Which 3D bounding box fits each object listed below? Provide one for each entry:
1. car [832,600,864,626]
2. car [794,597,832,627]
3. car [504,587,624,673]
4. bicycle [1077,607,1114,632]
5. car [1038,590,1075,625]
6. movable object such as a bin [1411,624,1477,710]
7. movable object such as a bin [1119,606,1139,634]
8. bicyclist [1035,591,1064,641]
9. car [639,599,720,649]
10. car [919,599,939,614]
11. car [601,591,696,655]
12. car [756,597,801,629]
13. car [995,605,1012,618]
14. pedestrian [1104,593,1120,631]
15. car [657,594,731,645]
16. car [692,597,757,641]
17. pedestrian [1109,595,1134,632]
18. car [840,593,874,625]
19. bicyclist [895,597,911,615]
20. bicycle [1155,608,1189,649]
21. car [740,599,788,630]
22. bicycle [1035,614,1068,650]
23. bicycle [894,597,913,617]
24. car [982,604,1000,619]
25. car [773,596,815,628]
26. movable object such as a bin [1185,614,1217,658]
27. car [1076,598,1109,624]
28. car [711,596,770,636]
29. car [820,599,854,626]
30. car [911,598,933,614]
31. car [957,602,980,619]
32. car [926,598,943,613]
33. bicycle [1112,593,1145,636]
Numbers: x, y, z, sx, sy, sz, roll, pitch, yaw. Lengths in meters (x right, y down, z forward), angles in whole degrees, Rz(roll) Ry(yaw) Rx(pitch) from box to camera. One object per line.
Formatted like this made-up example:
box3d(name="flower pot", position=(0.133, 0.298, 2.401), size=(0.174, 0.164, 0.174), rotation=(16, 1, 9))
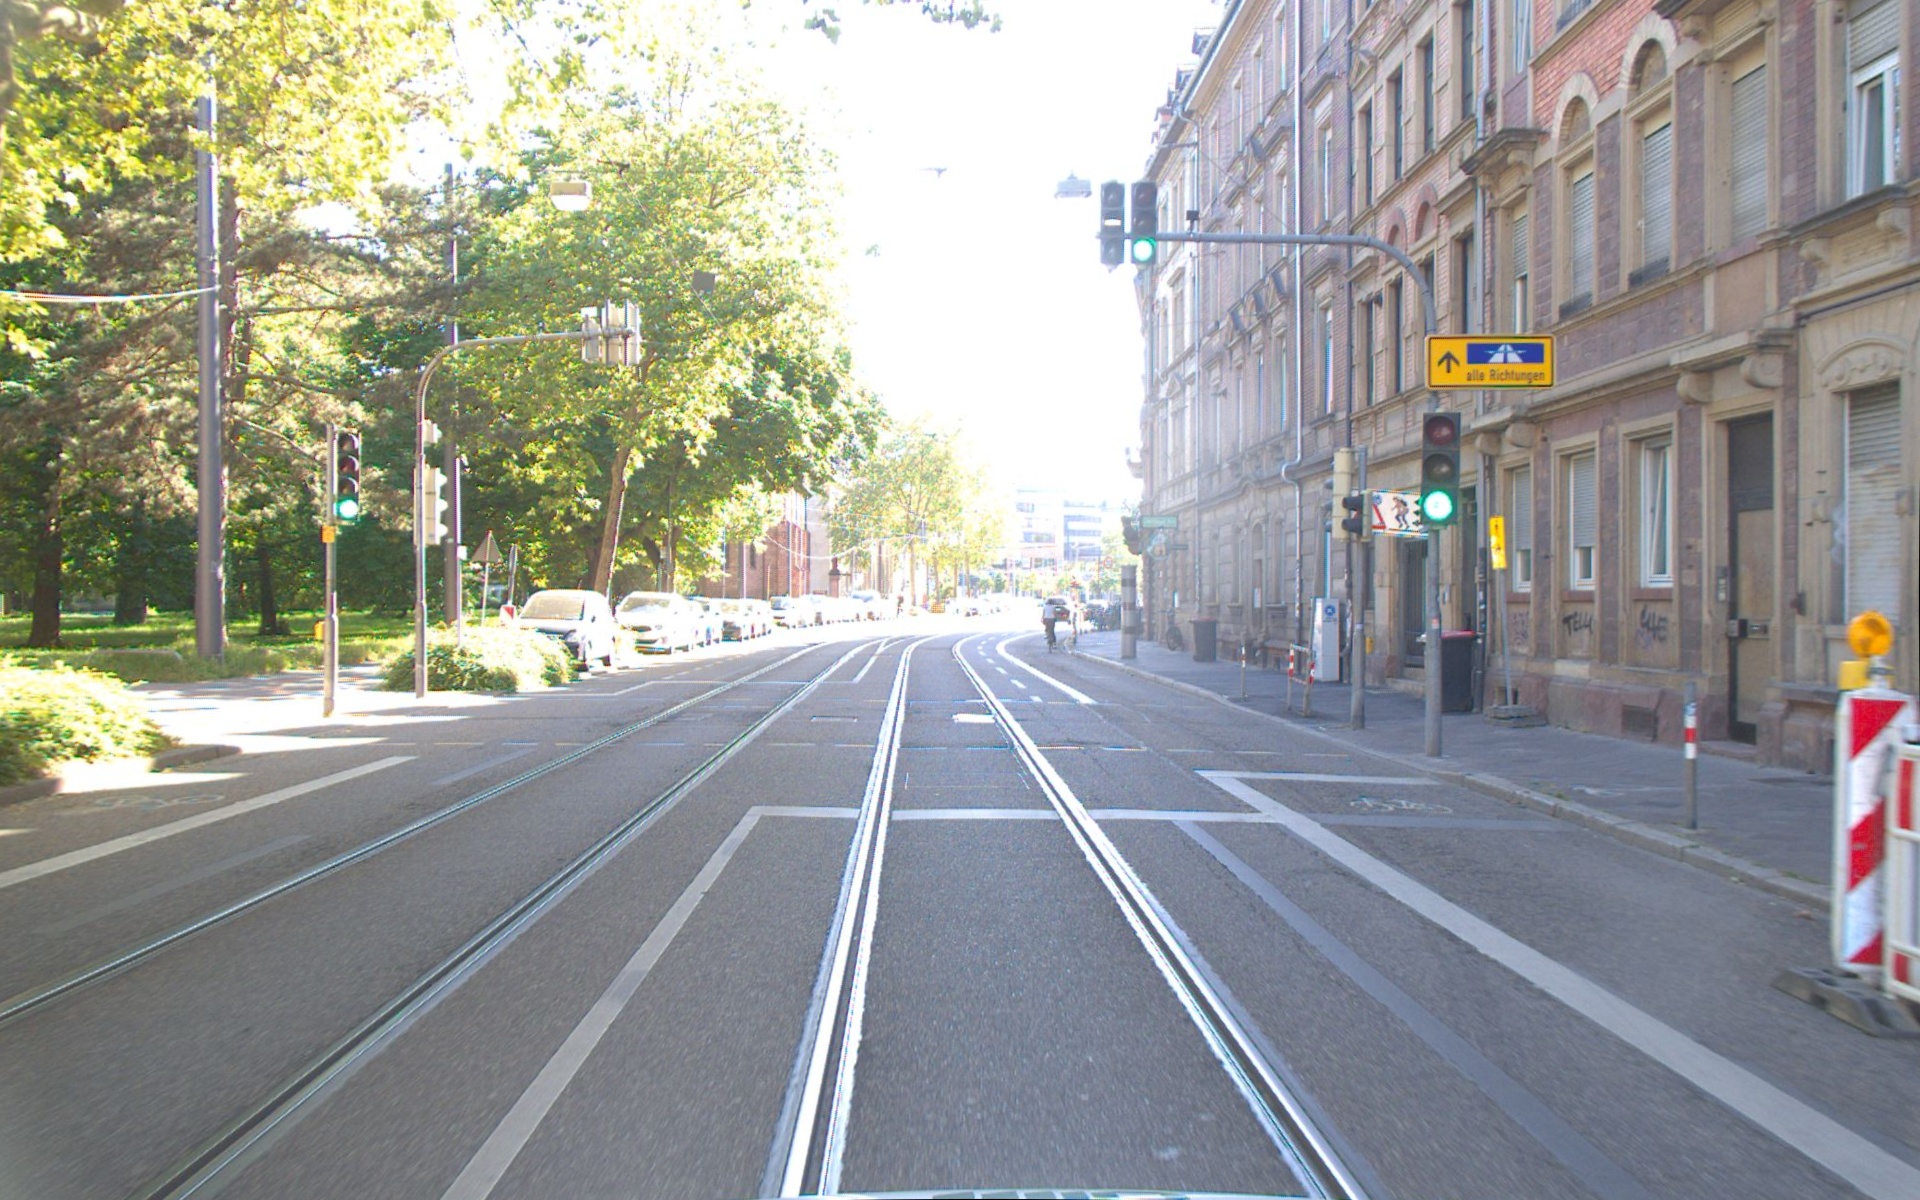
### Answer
box3d(name="car", position=(-7.417, 0.852, 109.824), size=(1.712, 1.614, 4.044), rotation=(1, -1, 1))
box3d(name="car", position=(-8.389, 0.705, 94.529), size=(1.712, 1.614, 4.044), rotation=(1, -1, 1))
box3d(name="car", position=(-8.302, 0.614, 34.927), size=(1.513, 1.687, 3.763), rotation=(1, -1, 1))
box3d(name="bicycle", position=(6.361, 0.905, 77.368), size=(0.628, 1.137, 2.289), rotation=(1, -1, 35))
box3d(name="car", position=(5.848, 0.456, 100.524), size=(1.953, 2.049, 3.999), rotation=(1, -1, -1))
box3d(name="movable object such as a bin", position=(6.582, 0.897, 22.511), size=(0.608, 1.129, 0.780), rotation=(1, -1, -4))
box3d(name="movable object such as a bin", position=(6.853, 0.793, 66.964), size=(0.681, 1.112, 0.741), rotation=(1, -1, -4))
box3d(name="bicyclist", position=(2.884, 0.522, 53.469), size=(0.821, 1.585, 0.965), rotation=(1, -1, -2))
box3d(name="car", position=(-8.629, 0.726, 51.198), size=(1.712, 1.447, 4.044), rotation=(1, 0, 1))
box3d(name="car", position=(-3.032, 0.670, 162.670), size=(1.712, 1.447, 4.045), rotation=(1, 0, 3))
box3d(name="car", position=(-8.502, 0.619, 45.465), size=(1.712, 1.636, 4.044), rotation=(1, -1, 1))
box3d(name="car", position=(-9.208, 0.647, 84.000), size=(1.712, 1.521, 4.044), rotation=(1, 0, 1))
box3d(name="car", position=(4.813, 1.294, 183.415), size=(1.712, 1.447, 4.045), rotation=(1, 0, 3))
box3d(name="pedestrian", position=(7.856, 0.631, 85.540), size=(0.767, 1.922, 0.971), rotation=(1, -1, 6))
box3d(name="car", position=(-8.893, 0.649, 55.545), size=(1.712, 1.614, 4.044), rotation=(1, -1, 1))
box3d(name="car", position=(-8.668, 0.706, 61.064), size=(1.712, 1.536, 4.044), rotation=(1, 0, 1))
box3d(name="pedestrian", position=(8.072, 0.679, 82.699), size=(1.033, 1.791, 1.332), rotation=(1, -1, -1))
box3d(name="car", position=(-7.144, 0.634, 114.870), size=(2.016, 2.088, 4.044), rotation=(1, -1, 1))
box3d(name="bicyclist", position=(-4.651, 0.479, 135.041), size=(1.054, 1.452, 1.147), rotation=(1, -1, 7))
box3d(name="bicycle", position=(6.007, 0.798, 47.013), size=(0.626, 1.137, 2.297), rotation=(1, -1, -1))
box3d(name="car", position=(-9.281, 0.703, 78.564), size=(1.712, 1.388, 4.044), rotation=(1, 0, 1))
box3d(name="bicycle", position=(2.951, 1.022, 53.510), size=(0.838, 1.107, 2.486), rotation=(1, -1, -1))
box3d(name="bicycle", position=(-4.610, 0.611, 135.069), size=(1.208, 1.600, 2.899), rotation=(1, -1, 6))
box3d(name="car", position=(3.254, 1.214, 173.621), size=(1.712, 1.447, 4.045), rotation=(1, 0, 3))
box3d(name="car", position=(-8.929, 0.648, 89.074), size=(1.712, 1.614, 4.044), rotation=(1, -1, 1))
box3d(name="movable object such as a bin", position=(5.923, 0.872, 40.678), size=(0.660, 1.054, 0.813), rotation=(0, 1, -1))
box3d(name="car", position=(9.720, 0.817, 121.598), size=(1.985, 1.881, 4.298), rotation=(1, -1, 0))
box3d(name="car", position=(-8.817, 0.631, 66.622), size=(1.712, 1.532, 4.044), rotation=(1, 0, 1))
box3d(name="car", position=(-7.745, 0.802, 104.622), size=(1.712, 1.614, 4.044), rotation=(1, -1, 1))
box3d(name="car", position=(-3.484, 0.579, 152.622), size=(1.712, 1.447, 4.045), rotation=(1, 0, 3))
box3d(name="car", position=(0.733, 0.906, 143.059), size=(1.712, 1.447, 4.045), rotation=(1, 0, 3))
box3d(name="car", position=(-3.078, 0.677, 200.094), size=(1.712, 1.653, 4.045), rotation=(1, -1, 3))
box3d(name="bicycle", position=(6.291, 0.553, 61.731), size=(0.950, 1.541, 3.249), rotation=(1, -1, 10))
